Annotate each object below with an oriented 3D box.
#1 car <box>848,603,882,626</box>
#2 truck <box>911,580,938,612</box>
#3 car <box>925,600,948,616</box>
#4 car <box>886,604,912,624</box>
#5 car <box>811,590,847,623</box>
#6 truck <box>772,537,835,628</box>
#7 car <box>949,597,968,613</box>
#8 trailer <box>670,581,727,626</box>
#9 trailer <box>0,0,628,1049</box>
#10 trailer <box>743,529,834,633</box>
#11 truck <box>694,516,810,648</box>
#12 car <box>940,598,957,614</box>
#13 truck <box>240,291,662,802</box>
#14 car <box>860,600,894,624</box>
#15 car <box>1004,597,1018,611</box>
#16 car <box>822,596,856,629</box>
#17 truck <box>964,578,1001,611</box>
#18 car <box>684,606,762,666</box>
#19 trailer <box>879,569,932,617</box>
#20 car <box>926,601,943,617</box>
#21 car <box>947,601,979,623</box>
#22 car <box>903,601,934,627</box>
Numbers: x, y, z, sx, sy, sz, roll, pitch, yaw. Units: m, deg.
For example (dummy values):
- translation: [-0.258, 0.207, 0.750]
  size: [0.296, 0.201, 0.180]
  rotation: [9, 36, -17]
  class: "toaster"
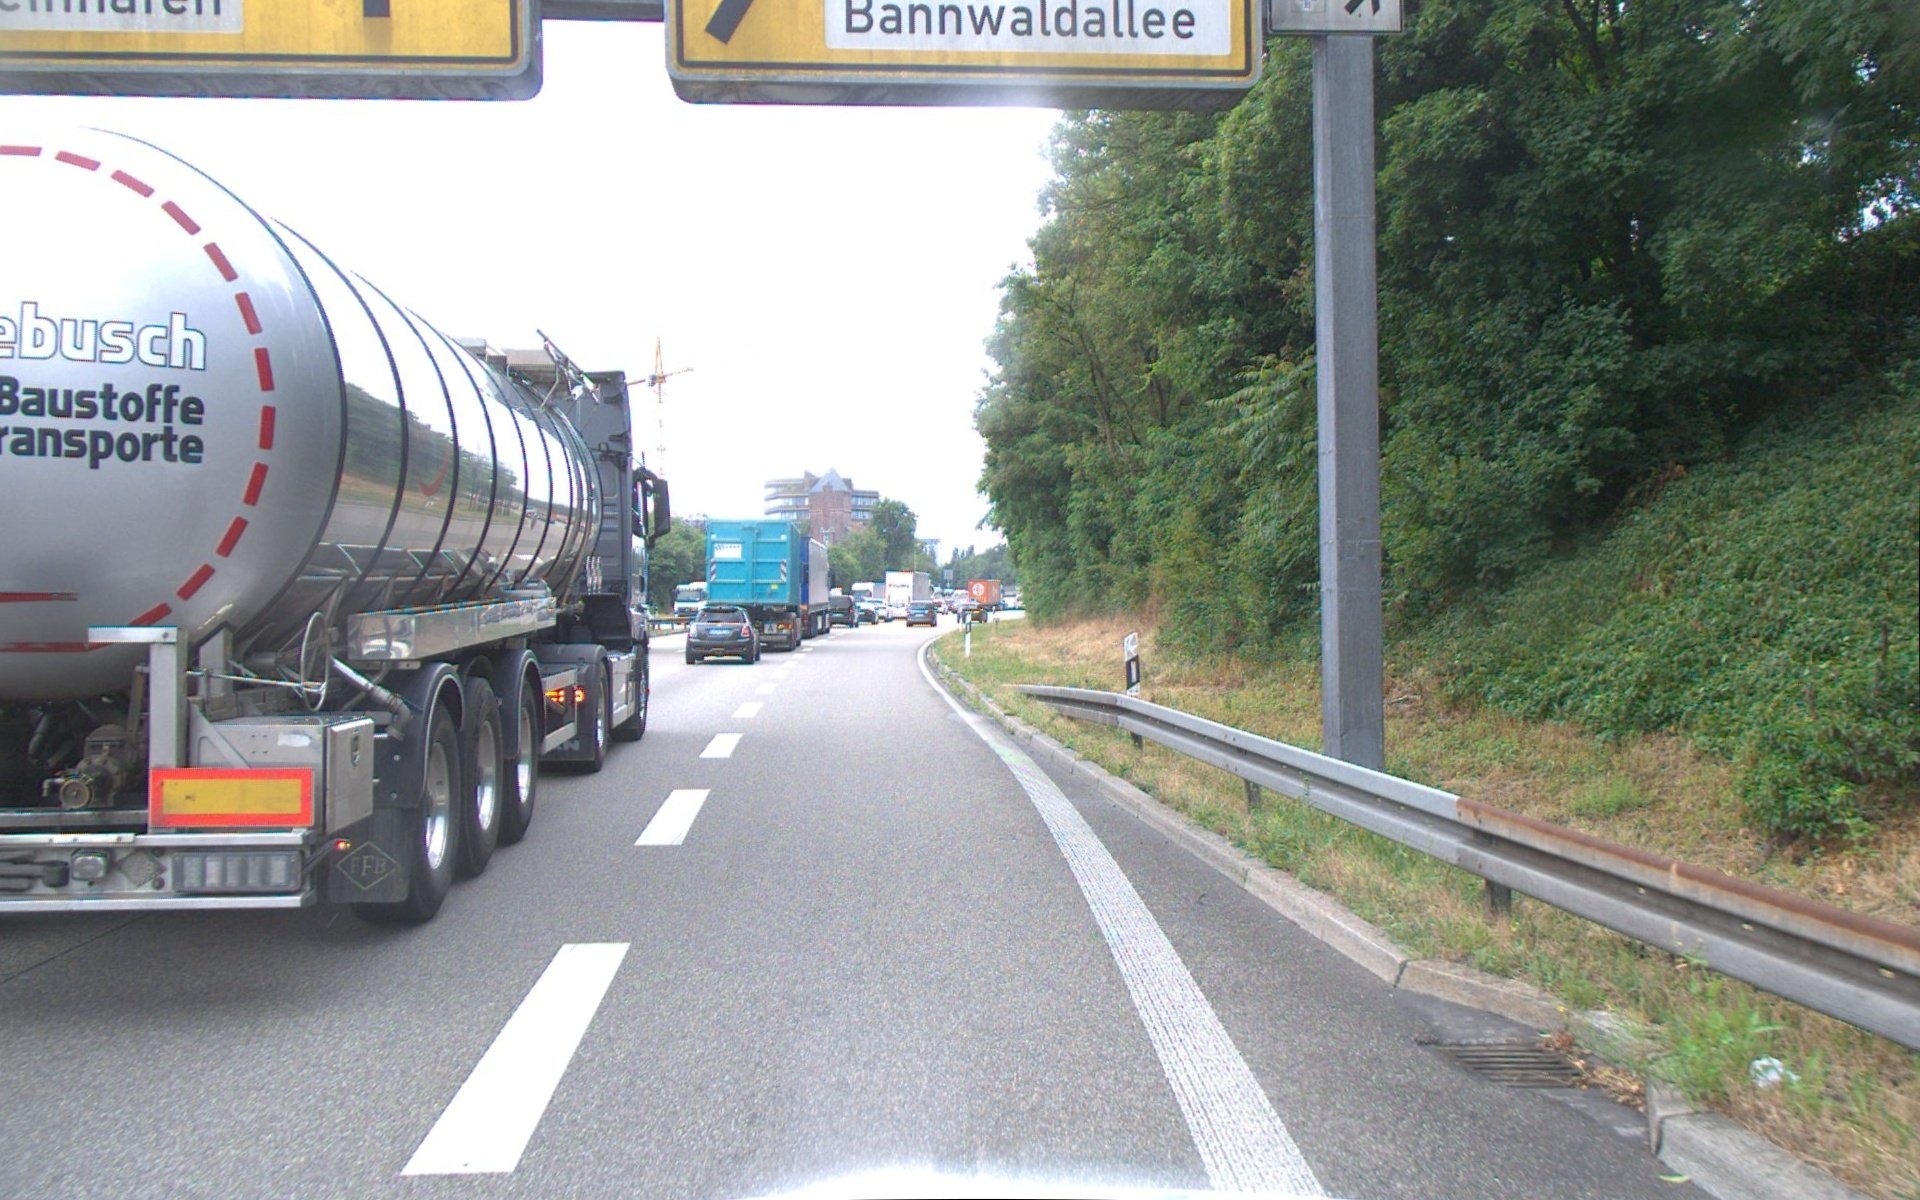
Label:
- translation: [-6.335, 0.962, 111.132]
  size: [1.809, 1.485, 4.832]
  rotation: [-1, 0, 2]
  class: "car"
- translation: [-4.803, -0.502, 225.532]
  size: [2.681, 4.211, 10.702]
  rotation: [0, -1, 4]
  class: "truck"
- translation: [-2.474, 0.825, 173.640]
  size: [1.761, 1.632, 4.261]
  rotation: [-2, 0, 7]
  class: "car"
- translation: [-4.971, 1.113, 134.872]
  size: [1.728, 1.504, 4.090]
  rotation: [-3, 0, 2]
  class: "car"
- translation: [-10.570, 0.529, 133.489]
  size: [1.951, 2.598, 5.365]
  rotation: [-1, 0, 5]
  class: "car"
- translation: [-7.320, -0.773, 78.218]
  size: [2.509, 4.113, 6.587]
  rotation: [0, -1, -2]
  class: "truck"
- translation: [-0.127, 0.593, 187.818]
  size: [1.681, 1.713, 4.003]
  rotation: [0, -1, 7]
  class: "car"
- translation: [-21.328, 0.300, 135.611]
  size: [2.419, 3.455, 12.464]
  rotation: [-1, 0, 1]
  class: "trailer"
- translation: [-4.007, -0.526, 10.764]
  size: [2.632, 3.975, 10.971]
  rotation: [-1, 0, -7]
  class: "trailer"
- translation: [-7.283, -0.680, 71.949]
  size: [2.573, 4.093, 13.462]
  rotation: [0, -1, 0]
  class: "trailer"
- translation: [-6.683, -0.540, 54.810]
  size: [2.871, 3.863, 11.324]
  rotation: [-1, 0, -3]
  class: "truck"
- translation: [-1.495, 0.755, 216.375]
  size: [1.779, 2.049, 4.002]
  rotation: [-1, 0, 5]
  class: "car"
- translation: [-4.608, -0.444, 16.453]
  size: [2.631, 3.975, 6.927]
  rotation: [-1, 0, -6]
  class: "truck"
- translation: [-6.192, 0.865, 124.016]
  size: [1.915, 1.724, 4.868]
  rotation: [-1, 0, 4]
  class: "car"
- translation: [7.532, 0.624, 243.471]
  size: [1.580, 2.049, 4.003]
  rotation: [-1, 0, 10]
  class: "car"
- translation: [-7.224, 0.732, 98.919]
  size: [1.949, 1.931, 4.980]
  rotation: [-1, 0, -4]
  class: "car"
- translation: [2.987, -0.747, 217.282]
  size: [3.416, 4.144, 13.601]
  rotation: [-1, 0, 7]
  class: "truck"
- translation: [-6.033, 0.880, 42.425]
  size: [1.713, 1.447, 3.660]
  rotation: [-1, 0, -5]
  class: "car"
- translation: [-4.756, -0.565, 147.768]
  size: [3.229, 4.107, 13.105]
  rotation: [0, -1, 5]
  class: "trailer"
- translation: [-2.666, 0.956, 176.655]
  size: [1.498, 1.579, 3.420]
  rotation: [-1, 0, 4]
  class: "car"
- translation: [0.226, 0.840, 119.372]
  size: [1.786, 1.508, 4.003]
  rotation: [-1, 0, 8]
  class: "car"
- translation: [-2.578, 0.863, 103.863]
  size: [1.788, 1.508, 4.000]
  rotation: [-1, 0, 0]
  class: "car"
